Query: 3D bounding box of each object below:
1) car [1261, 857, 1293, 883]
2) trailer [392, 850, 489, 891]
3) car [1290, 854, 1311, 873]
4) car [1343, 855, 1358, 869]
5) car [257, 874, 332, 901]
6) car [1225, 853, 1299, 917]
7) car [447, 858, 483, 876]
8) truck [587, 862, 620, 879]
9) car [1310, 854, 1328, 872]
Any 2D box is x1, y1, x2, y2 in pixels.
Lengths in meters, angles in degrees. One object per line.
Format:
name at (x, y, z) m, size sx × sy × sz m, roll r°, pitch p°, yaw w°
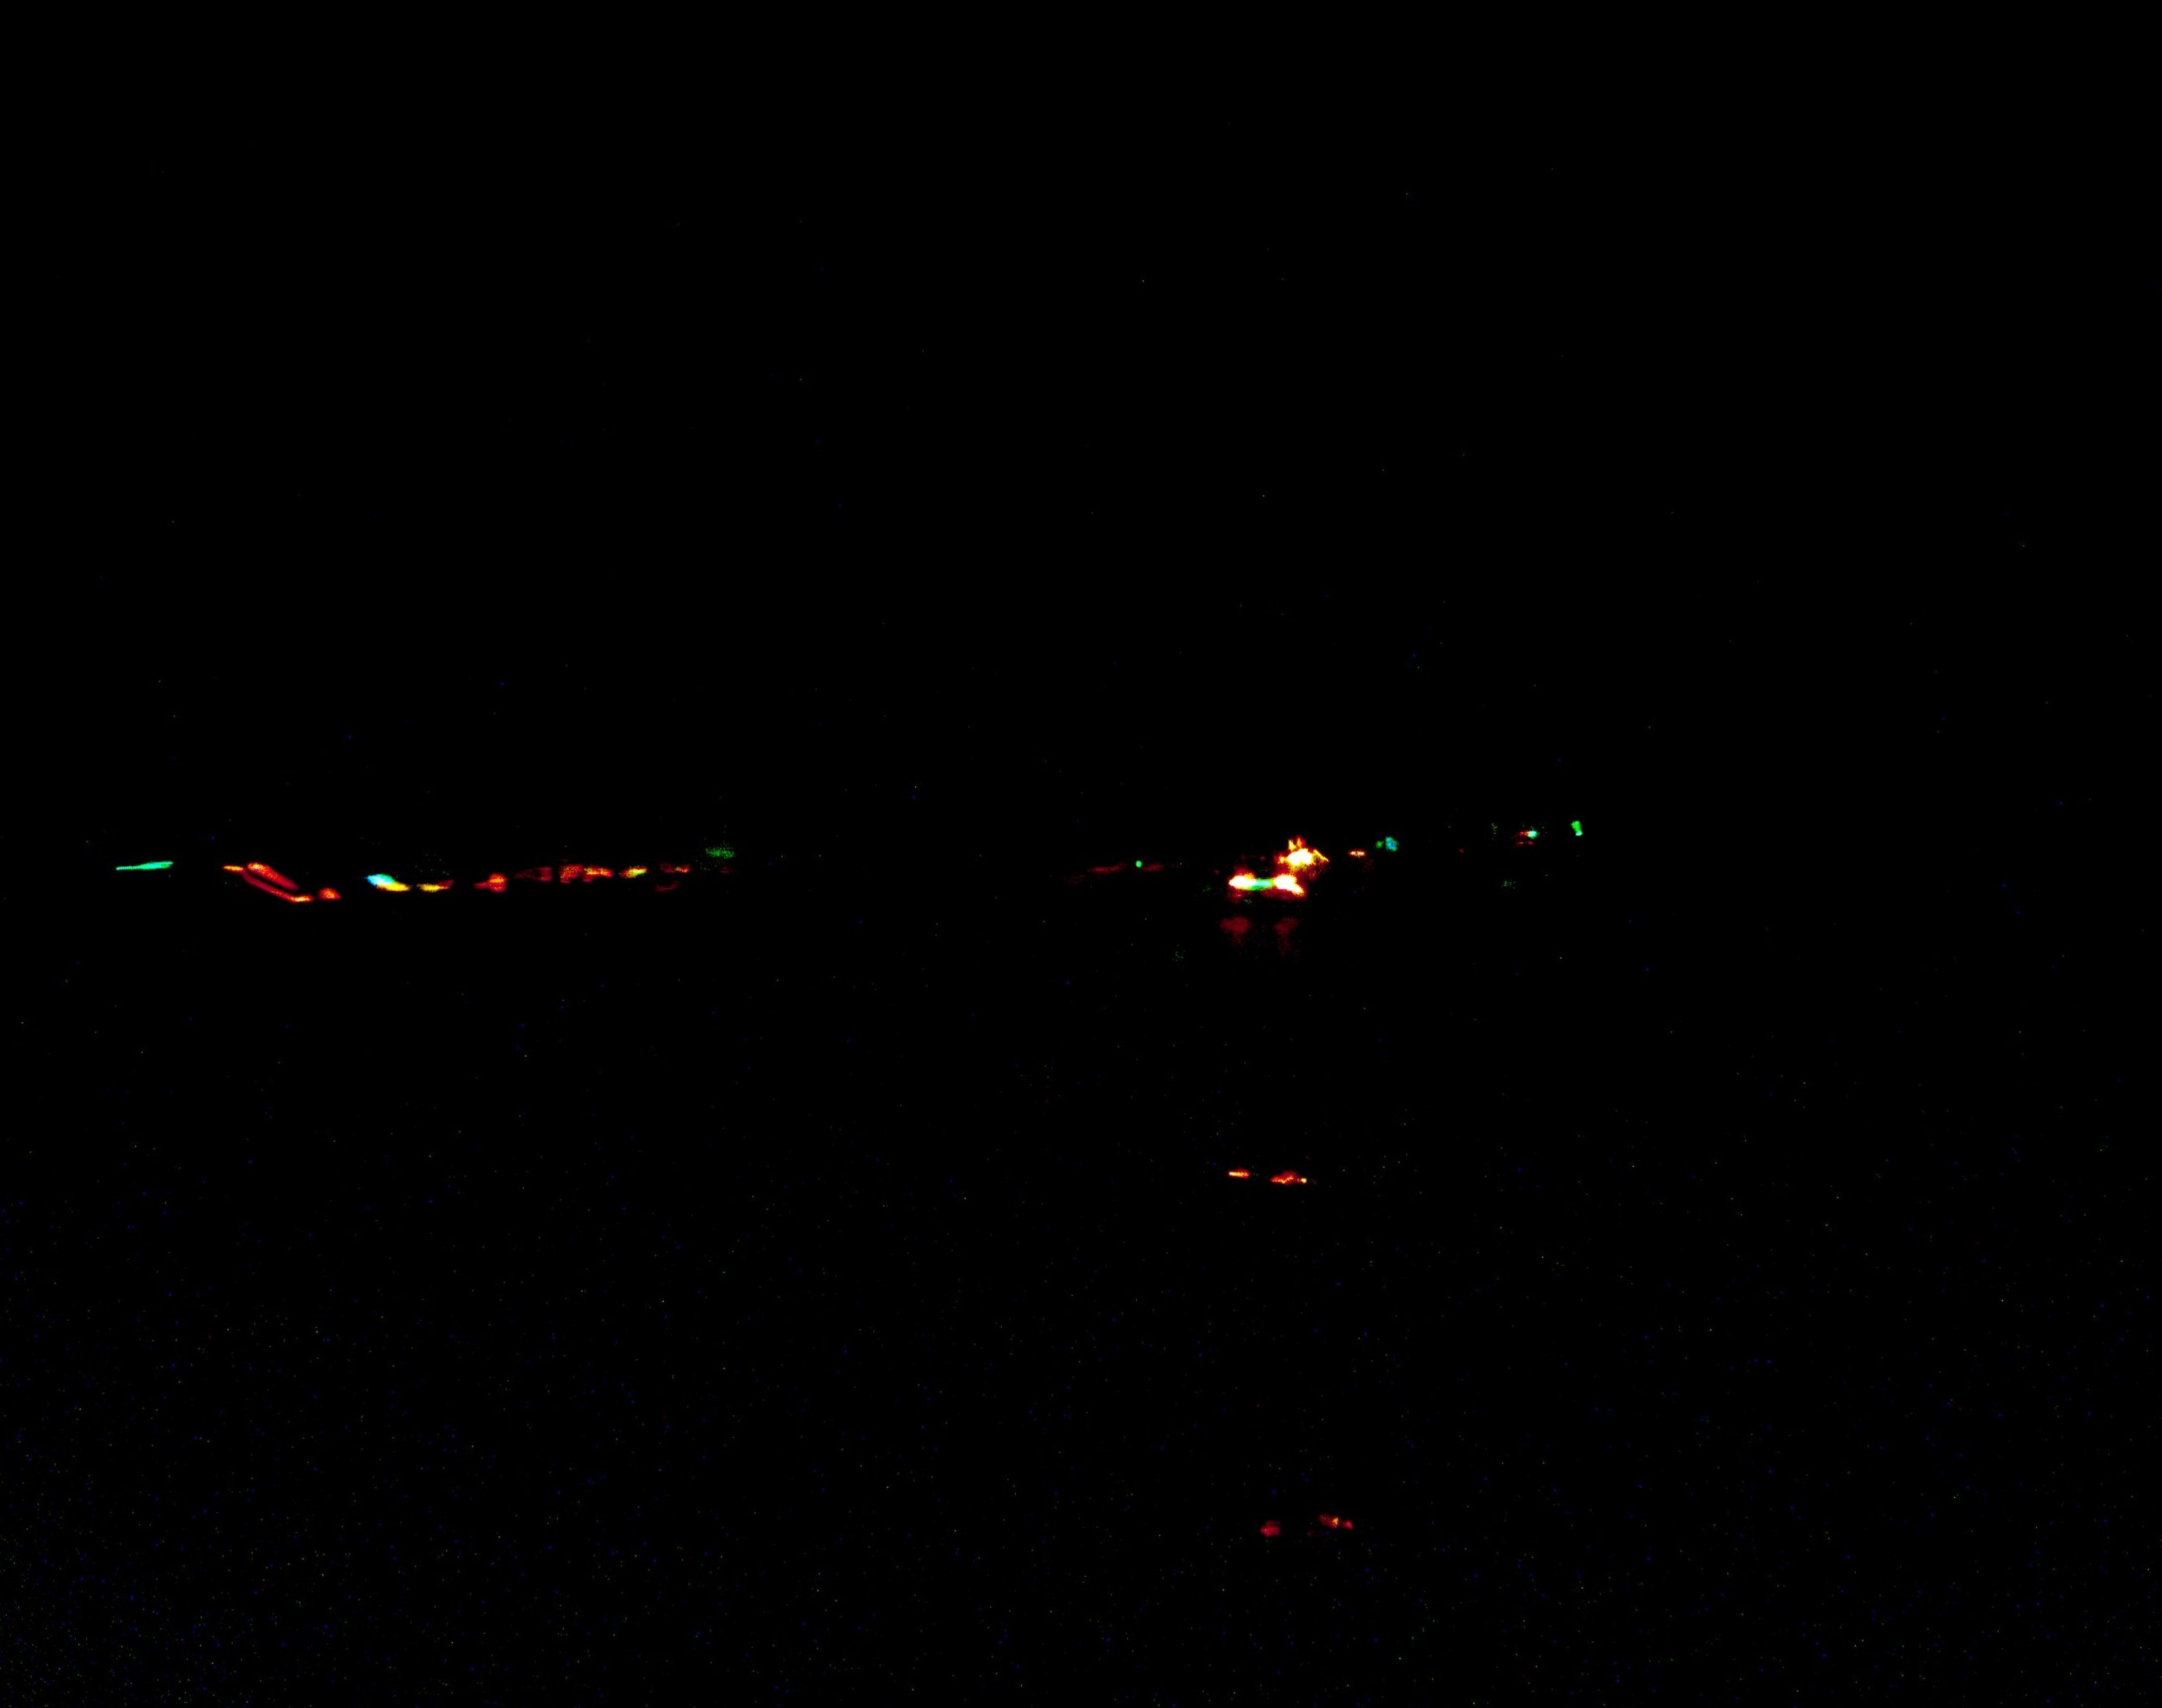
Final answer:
car at (13.631, 1.098, 56.489) m, size 1.846 × 1.708 × 4.086 m, roll 2°, pitch -1°, yaw 17°
trailer at (-38.941, 0.903, 49.877) m, size 2.001 × 2.282 × 9.587 m, roll 2°, pitch -1°, yaw -22°
car at (20.880, 0.909, 77.513) m, size 1.881 × 1.720 × 4.062 m, roll 0°, pitch -1°, yaw 15°
car at (37.217, 1.090, 112.420) m, size 1.880 × 1.998 × 4.065 m, roll -1°, pitch -1°, yaw 19°
car at (-47.943, 2.016, 49.741) m, size 1.768 × 1.518 × 4.212 m, roll 1°, pitch -2°, yaw -22°
car at (4.995, 0.800, 22.957) m, size 1.849 × 1.647 × 4.080 m, roll 0°, pitch 0°, yaw 10°
car at (-61.680, 1.357, 81.638) m, size 1.768 × 1.710 × 4.212 m, roll 2°, pitch -2°, yaw -22°
truck at (-68.582, 2.292, 117.066) m, size 1.999 × 2.266 × 9.259 m, roll 0°, pitch -1°, yaw -17°
car at (27.580, 0.984, 94.479) m, size 1.880 × 2.040 × 4.064 m, roll -1°, pitch -1°, yaw 18°
